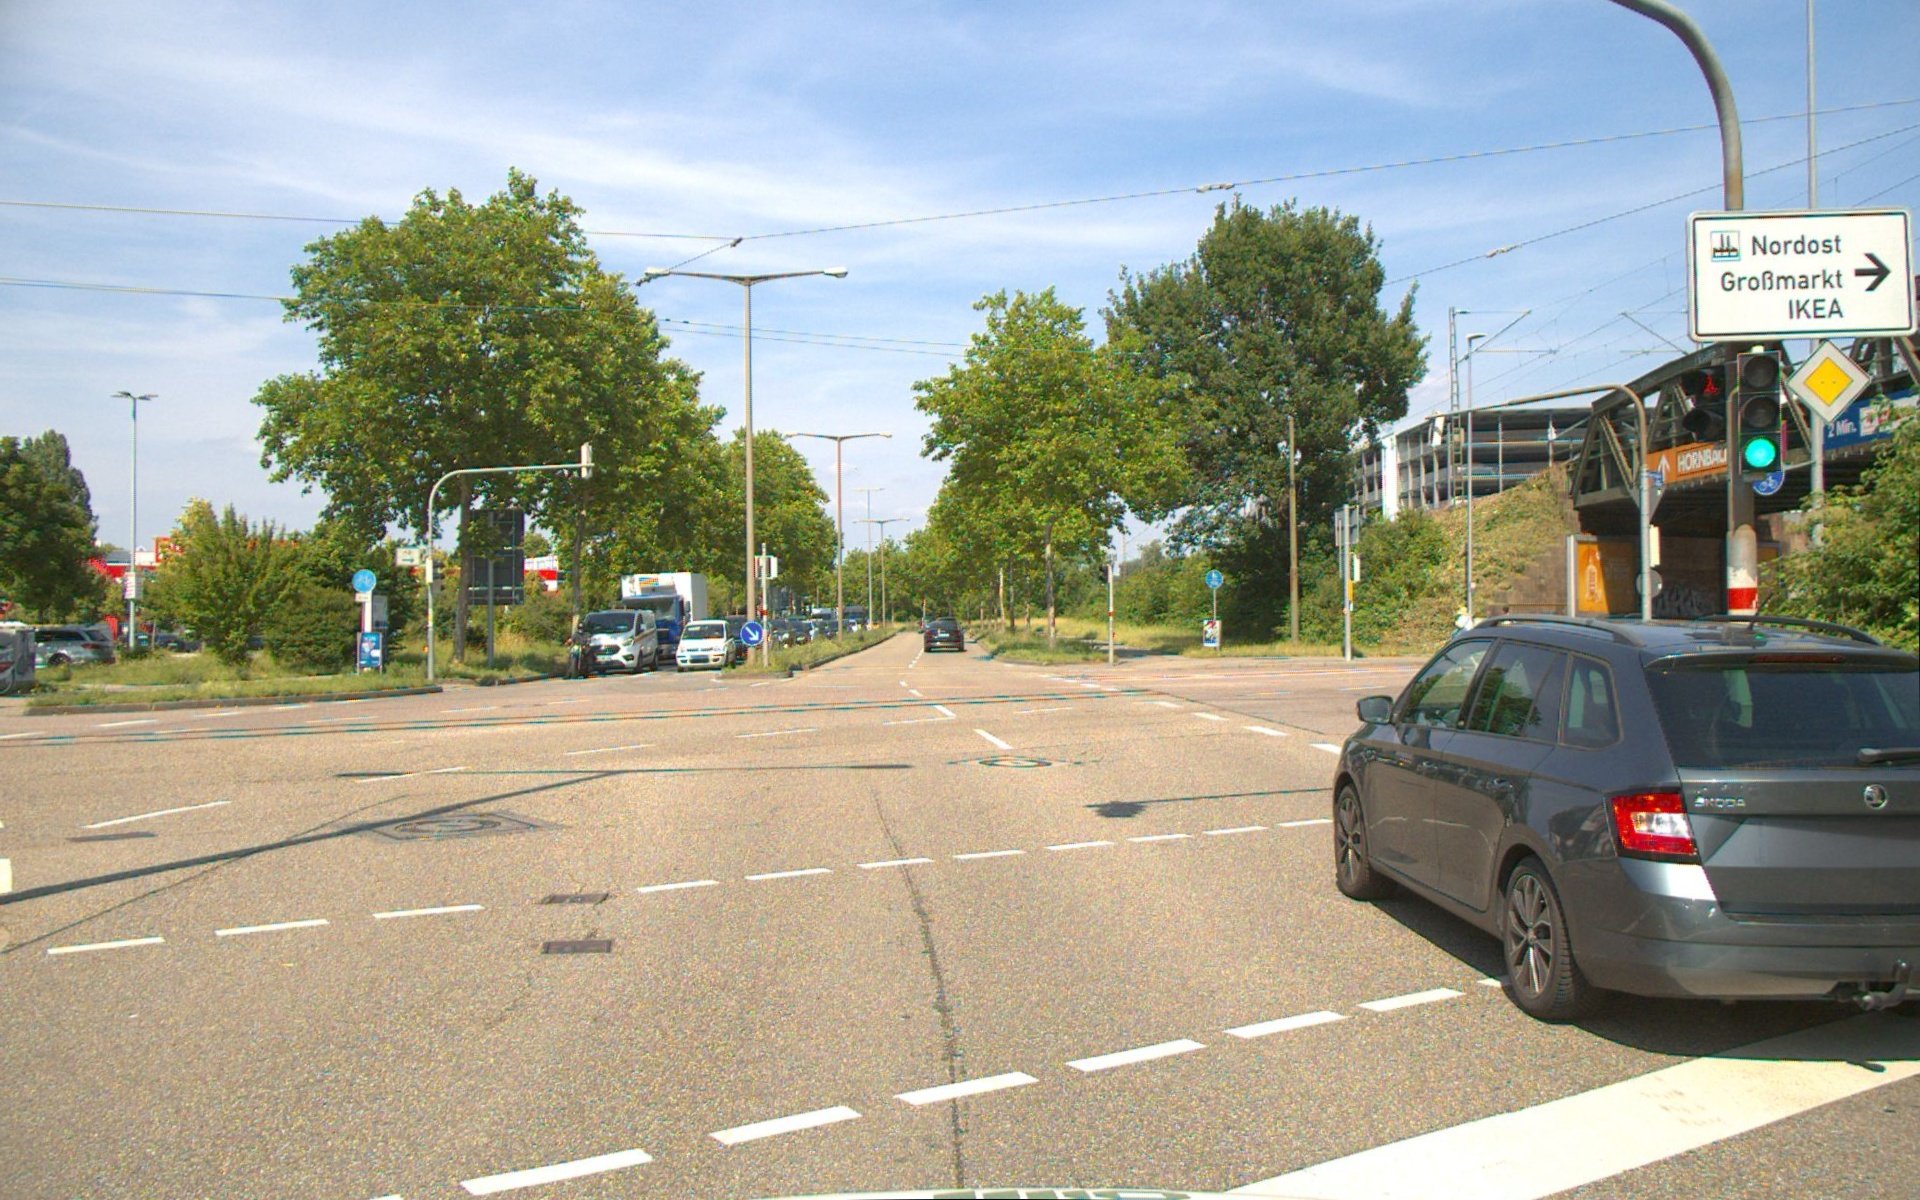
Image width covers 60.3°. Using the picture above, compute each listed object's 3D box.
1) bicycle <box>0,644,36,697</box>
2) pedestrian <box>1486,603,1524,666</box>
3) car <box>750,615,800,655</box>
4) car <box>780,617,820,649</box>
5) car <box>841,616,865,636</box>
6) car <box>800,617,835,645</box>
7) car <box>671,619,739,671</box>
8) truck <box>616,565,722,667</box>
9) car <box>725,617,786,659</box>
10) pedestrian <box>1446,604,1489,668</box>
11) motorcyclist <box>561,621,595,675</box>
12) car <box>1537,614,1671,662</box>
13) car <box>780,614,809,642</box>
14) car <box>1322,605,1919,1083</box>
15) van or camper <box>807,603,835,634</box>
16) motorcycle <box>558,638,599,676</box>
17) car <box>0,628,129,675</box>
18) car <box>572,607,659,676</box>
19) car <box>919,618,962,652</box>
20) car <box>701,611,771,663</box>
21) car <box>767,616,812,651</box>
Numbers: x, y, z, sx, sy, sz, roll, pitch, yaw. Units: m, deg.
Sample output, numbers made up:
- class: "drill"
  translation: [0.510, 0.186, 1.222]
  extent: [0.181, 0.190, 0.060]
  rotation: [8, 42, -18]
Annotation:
- class: "bicycle"
  translation: [-19.845, 1.445, 33.774]
  extent: [0.581, 1.055, 1.897]
  rotation: [-1, -1, 13]
- class: "pedestrian"
  translation: [14.196, 0.895, 43.116]
  extent: [0.714, 1.607, 0.777]
  rotation: [-1, -1, -1]
- class: "car"
  translation: [-7.878, 1.473, 70.816]
  extent: [1.654, 1.614, 4.239]
  rotation: [-2, 0, -1]
- class: "car"
  translation: [-8.073, 1.654, 83.788]
  extent: [1.654, 1.497, 3.814]
  rotation: [-2, 0, -1]
- class: "car"
  translation: [-8.459, 2.035, 130.619]
  extent: [1.654, 1.537, 3.814]
  rotation: [-2, 0, -1]
- class: "car"
  translation: [-8.310, 1.788, 96.479]
  extent: [1.749, 1.515, 4.209]
  rotation: [-2, 0, -2]
- class: "car"
  translation: [-7.896, 1.367, 51.494]
  extent: [1.560, 1.503, 3.728]
  rotation: [-2, 0, -1]
- class: "truck"
  translation: [-10.886, 0.582, 62.464]
  extent: [2.747, 3.532, 6.690]
  rotation: [-3, 0, -1]
- class: "car"
  translation: [-7.902, 1.449, 64.250]
  extent: [1.760, 1.493, 4.522]
  rotation: [-2, 0, 0]
- class: "pedestrian"
  translation: [13.099, 0.923, 42.717]
  extent: [0.850, 1.640, 0.777]
  rotation: [-1, -1, -1]
- class: "motorcyclist"
  translation: [-10.874, 1.367, 47.131]
  extent: [0.728, 1.496, 0.987]
  rotation: [-1, -1, -1]
- class: "car"
  translation: [20.487, 1.180, 52.563]
  extent: [4.453, 1.433, 1.973]
  rotation: [0, -1, -37]
- class: "car"
  translation: [-11.735, 1.967, 117.732]
  extent: [1.654, 1.891, 4.035]
  rotation: [-2, -1, -1]
- class: "car"
  translation: [2.885, 0.778, 7.184]
  extent: [1.640, 1.479, 4.034]
  rotation: [1, 0, -2]
- class: "van or camper"
  translation: [-12.182, 1.629, 144.886]
  extent: [1.974, 2.633, 5.516]
  rotation: [-2, 0, -1]
- class: "motorcycle"
  translation: [-10.838, 1.615, 47.035]
  extent: [0.674, 1.009, 2.217]
  rotation: [-1, 0, -1]
- class: "car"
  translation: [-29.567, 1.649, 53.299]
  extent: [4.476, 1.439, 2.197]
  rotation: [-1, -1, -8]
- class: "car"
  translation: [-10.805, 1.259, 52.250]
  extent: [1.937, 2.034, 5.028]
  rotation: [-1, 0, -3]
- class: "car"
  translation: [-0.918, 1.576, 75.947]
  extent: [1.869, 1.489, 4.619]
  rotation: [-1, 0, -2]
- class: "car"
  translation: [-7.724, 1.299, 57.349]
  extent: [1.783, 1.675, 4.692]
  rotation: [-2, -1, -1]
- class: "car"
  translation: [-8.022, 1.567, 78.153]
  extent: [1.654, 1.499, 4.217]
  rotation: [-3, 0, -1]
